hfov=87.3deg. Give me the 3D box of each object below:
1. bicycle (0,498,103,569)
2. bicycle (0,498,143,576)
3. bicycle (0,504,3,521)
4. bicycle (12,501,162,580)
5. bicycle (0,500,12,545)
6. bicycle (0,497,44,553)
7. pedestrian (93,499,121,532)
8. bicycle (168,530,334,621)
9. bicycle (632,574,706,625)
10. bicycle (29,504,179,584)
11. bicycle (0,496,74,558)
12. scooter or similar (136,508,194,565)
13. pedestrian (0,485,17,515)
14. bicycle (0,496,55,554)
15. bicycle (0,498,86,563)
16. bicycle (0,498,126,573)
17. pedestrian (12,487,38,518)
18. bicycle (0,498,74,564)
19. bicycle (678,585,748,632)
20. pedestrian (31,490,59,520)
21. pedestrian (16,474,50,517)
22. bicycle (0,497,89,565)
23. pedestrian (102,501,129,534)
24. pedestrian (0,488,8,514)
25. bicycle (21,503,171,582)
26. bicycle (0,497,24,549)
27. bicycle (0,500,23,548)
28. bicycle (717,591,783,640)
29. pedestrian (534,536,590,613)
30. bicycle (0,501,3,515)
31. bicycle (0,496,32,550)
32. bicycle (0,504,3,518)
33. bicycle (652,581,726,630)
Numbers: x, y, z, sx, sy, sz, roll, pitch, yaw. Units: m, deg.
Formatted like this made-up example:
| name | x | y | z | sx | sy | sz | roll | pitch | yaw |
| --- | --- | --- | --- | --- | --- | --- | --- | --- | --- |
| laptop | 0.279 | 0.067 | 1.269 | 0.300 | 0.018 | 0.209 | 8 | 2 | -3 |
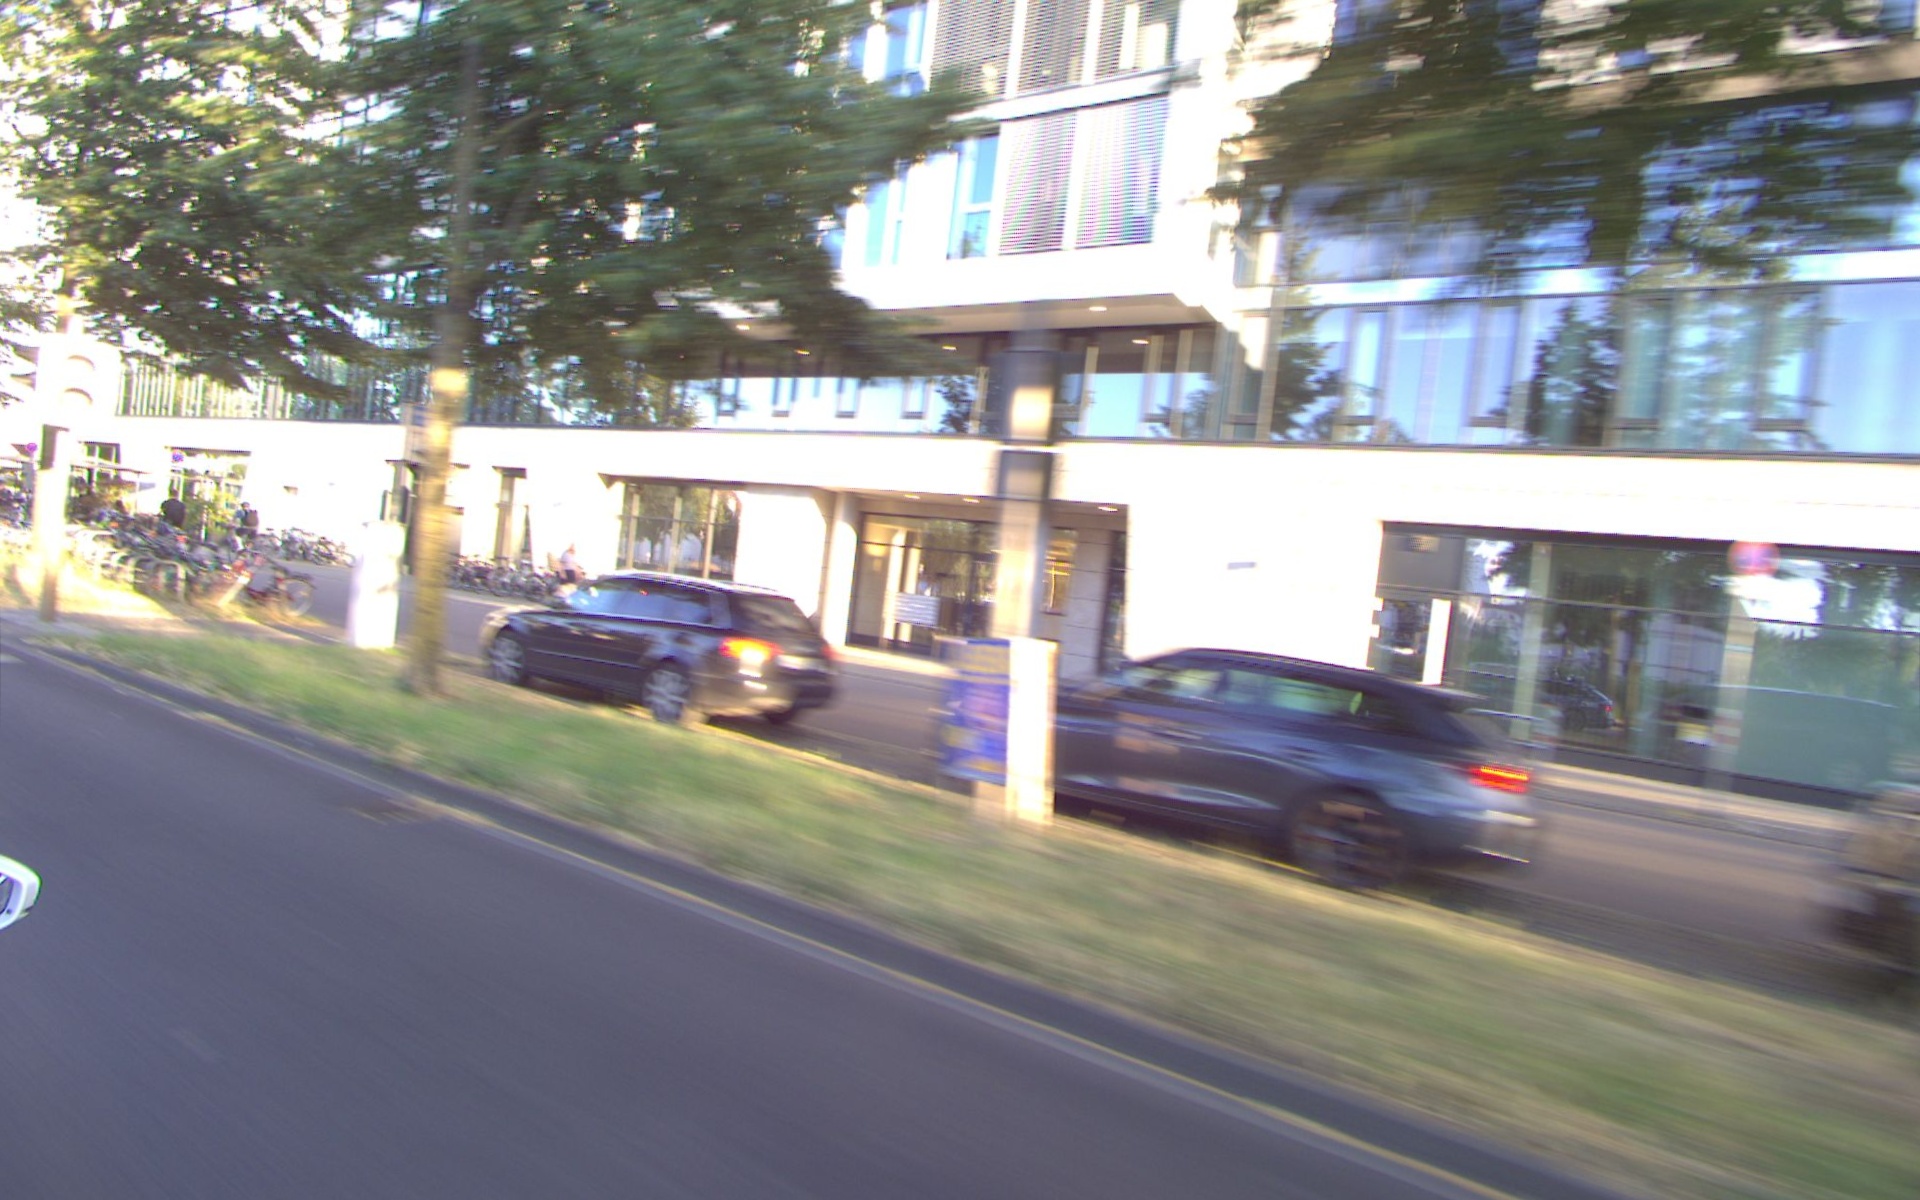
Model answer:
| name | x | y | z | sx | sy | sz | roll | pitch | yaw |
| --- | --- | --- | --- | --- | --- | --- | --- | --- | --- |
| bicycle | -17.428 | -1.281 | 18.863 | 0.397 | 1.065 | 1.949 | 8 | -3 | 28 |
| bicycle | -16.315 | -1.121 | 18.462 | 0.407 | 1.065 | 1.950 | 8 | -3 | 24 |
| bicycle | -23.116 | -1.926 | 22.664 | 0.435 | 0.949 | 2.151 | 8 | -3 | 25 |
| bicycle | -15.736 | -1.049 | 18.208 | 0.407 | 1.065 | 1.950 | 8 | -3 | 24 |
| bicycle | -22.107 | -1.879 | 21.806 | 0.435 | 0.983 | 2.151 | 8 | -3 | 25 |
| bicycle | -20.504 | -1.697 | 20.804 | 0.515 | 1.065 | 2.151 | 8 | -3 | 25 |
| pedestrian | -34.996 | -3.461 | 41.283 | 0.793 | 1.210 | 0.572 | 7 | 1 | 32 |
| bicycle | -10.951 | -0.350 | 15.624 | 0.536 | 1.065 | 1.948 | 7 | -3 | 31 |
| bicycle | -7.032 | -0.004 | 24.373 | 0.397 | 1.070 | 1.832 | 7 | 0 | 32 |
| bicycle | -15.053 | -0.952 | 17.760 | 0.309 | 1.065 | 1.950 | 8 | -3 | 24 |
| bicycle | -19.414 | -1.569 | 20.292 | 0.552 | 1.065 | 2.151 | 8 | -3 | 25 |
| scooter or similar | -20.837 | -1.668 | 26.362 | 1.636 | 1.327 | 0.526 | 7 | 1 | 30 |
| pedestrian | -44.333 | -4.674 | 46.548 | 0.703 | 1.299 | 0.627 | 7 | 1 | 10 |
| bicycle | -19.992 | -1.656 | 20.494 | 0.561 | 1.065 | 2.151 | 8 | -3 | 25 |
| bicycle | -18.815 | -1.452 | 19.891 | 0.561 | 1.065 | 2.151 | 8 | -3 | 25 |
| bicycle | -16.804 | -1.191 | 18.674 | 0.407 | 1.065 | 1.950 | 8 | -3 | 24 |
| pedestrian | -43.695 | -4.565 | 47.024 | 0.726 | 1.299 | 0.580 | 7 | 1 | 28 |
| bicycle | -18.313 | -1.393 | 19.228 | 0.397 | 1.065 | 1.950 | 8 | -3 | 25 |
| bicycle | -5.807 | 0.206 | 23.748 | 0.397 | 0.964 | 1.745 | 7 | 0 | 32 |
| pedestrian | -43.342 | -4.496 | 47.662 | 0.725 | 1.299 | 0.581 | 7 | 1 | 13 |
| pedestrian | -41.149 | -4.647 | 44.675 | 0.677 | 1.759 | 0.705 | 7 | 1 | 2 |
| bicycle | -17.856 | -1.349 | 19.059 | 0.397 | 1.065 | 1.950 | 8 | -3 | 25 |
| pedestrian | -34.232 | -3.355 | 40.767 | 0.793 | 1.210 | 0.572 | 7 | 1 | 34 |
| pedestrian | -46.758 | -4.853 | 48.824 | 0.847 | 1.201 | 0.572 | 7 | 1 | 33 |
| bicycle | -15.353 | -0.996 | 17.943 | 0.341 | 1.065 | 1.950 | 8 | -3 | 24 |
| bicycle | -21.367 | -1.804 | 21.329 | 0.295 | 1.065 | 2.151 | 8 | -3 | 25 |
| bicycle | -21.679 | -1.816 | 21.613 | 0.435 | 0.997 | 2.151 | 8 | -3 | 25 |
| bicycle | -4.801 | 0.375 | 23.104 | 0.397 | 0.999 | 1.577 | 7 | 0 | 32 |
| pedestrian | -9.398 | -0.599 | 23.752 | 0.937 | 1.669 | 0.643 | 7 | 1 | 31 |
| bicycle | -22.516 | -1.940 | 22.022 | 0.435 | 0.949 | 2.151 | 8 | -3 | 25 |
| bicycle | -20.996 | -1.778 | 21.065 | 0.515 | 1.065 | 2.151 | 8 | -3 | 25 |
| bicycle | -24.032 | -2.016 | 23.587 | 0.535 | 0.949 | 2.151 | 8 | -3 | 25 |
| bicycle | -6.453 | 0.145 | 24.058 | 0.397 | 0.999 | 1.832 | 7 | 0 | 32 |
